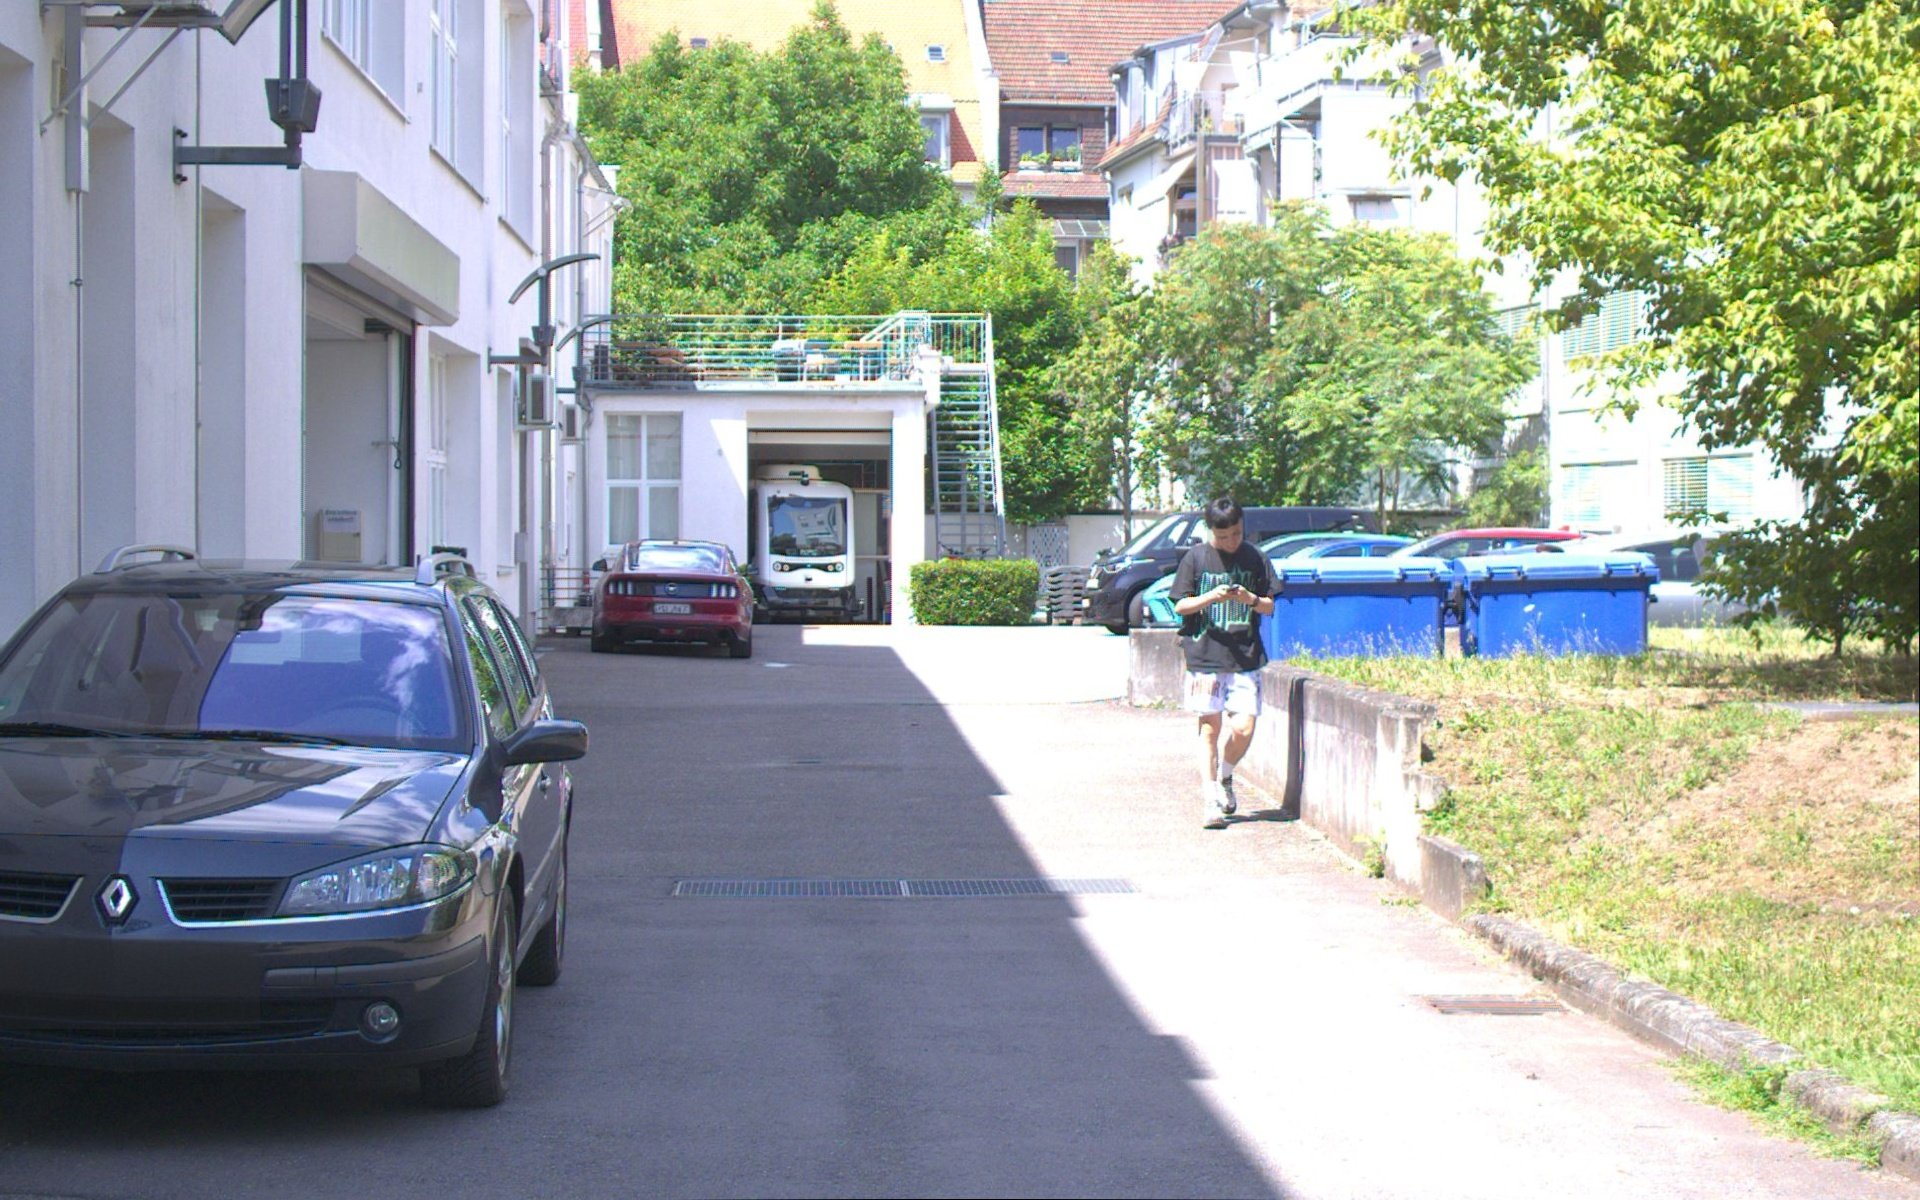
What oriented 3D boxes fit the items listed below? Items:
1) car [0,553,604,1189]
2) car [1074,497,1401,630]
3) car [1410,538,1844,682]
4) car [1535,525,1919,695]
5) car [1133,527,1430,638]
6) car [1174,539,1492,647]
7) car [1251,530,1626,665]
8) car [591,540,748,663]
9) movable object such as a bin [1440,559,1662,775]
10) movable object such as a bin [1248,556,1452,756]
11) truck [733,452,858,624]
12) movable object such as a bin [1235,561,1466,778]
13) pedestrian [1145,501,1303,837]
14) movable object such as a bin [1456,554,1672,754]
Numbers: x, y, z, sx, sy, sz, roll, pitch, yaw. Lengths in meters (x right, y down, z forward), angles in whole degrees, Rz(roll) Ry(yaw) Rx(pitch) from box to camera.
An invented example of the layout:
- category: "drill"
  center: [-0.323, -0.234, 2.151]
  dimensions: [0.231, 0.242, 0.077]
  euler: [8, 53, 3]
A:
- category: "car"
  center: [-2.106, 0.610, 10.278]
  dimensions: [1.754, 1.425, 4.387]
  euler: [0, 2, -2]
- category: "car"
  center: [4.171, -0.568, 52.233]
  dimensions: [4.677, 1.951, 2.077]
  euler: [0, 1, -4]
- category: "car"
  center: [6.719, 0.082, 34.880]
  dimensions: [3.986, 1.385, 1.805]
  euler: [0, 1, -4]
- category: "car"
  center: [7.430, 0.065, 31.390]
  dimensions: [3.986, 1.473, 1.805]
  euler: [0, 1, -4]
- category: "car"
  center: [4.573, -0.271, 49.212]
  dimensions: [3.986, 1.529, 1.805]
  euler: [0, 1, -4]
- category: "car"
  center: [4.979, -0.110, 46.248]
  dimensions: [3.986, 1.385, 1.805]
  euler: [0, 1, -4]
- category: "car"
  center: [5.479, -0.049, 39.621]
  dimensions: [3.986, 1.473, 1.805]
  euler: [0, 1, -4]
- category: "car"
  center: [-3.493, -0.021, 41.906]
  dimensions: [1.798, 1.385, 4.001]
  euler: [0, 1, -3]
- category: "movable object such as a bin"
  center: [3.765, 0.409, 21.996]
  dimensions: [1.216, 1.322, 1.160]
  euler: [0, 1, 0]
- category: "movable object such as a bin"
  center: [2.673, 0.369, 23.678]
  dimensions: [1.192, 1.322, 1.161]
  euler: [0, 1, -4]
- category: "truck"
  center: [-2.956, -1.094, 60.939]
  dimensions: [1.787, 2.927, 4.654]
  euler: [0, 1, -8]
- category: "movable object such as a bin"
  center: [2.471, 0.426, 21.921]
  dimensions: [1.339, 1.322, 1.160]
  euler: [0, 1, 0]
- category: "pedestrian"
  center: [1.396, 0.351, 18.305]
  dimensions: [0.757, 1.749, 0.751]
  euler: [0, 1, -2]
- category: "movable object such as a bin"
  center: [4.148, 0.352, 23.705]
  dimensions: [1.216, 1.322, 1.161]
  euler: [0, 1, -4]
